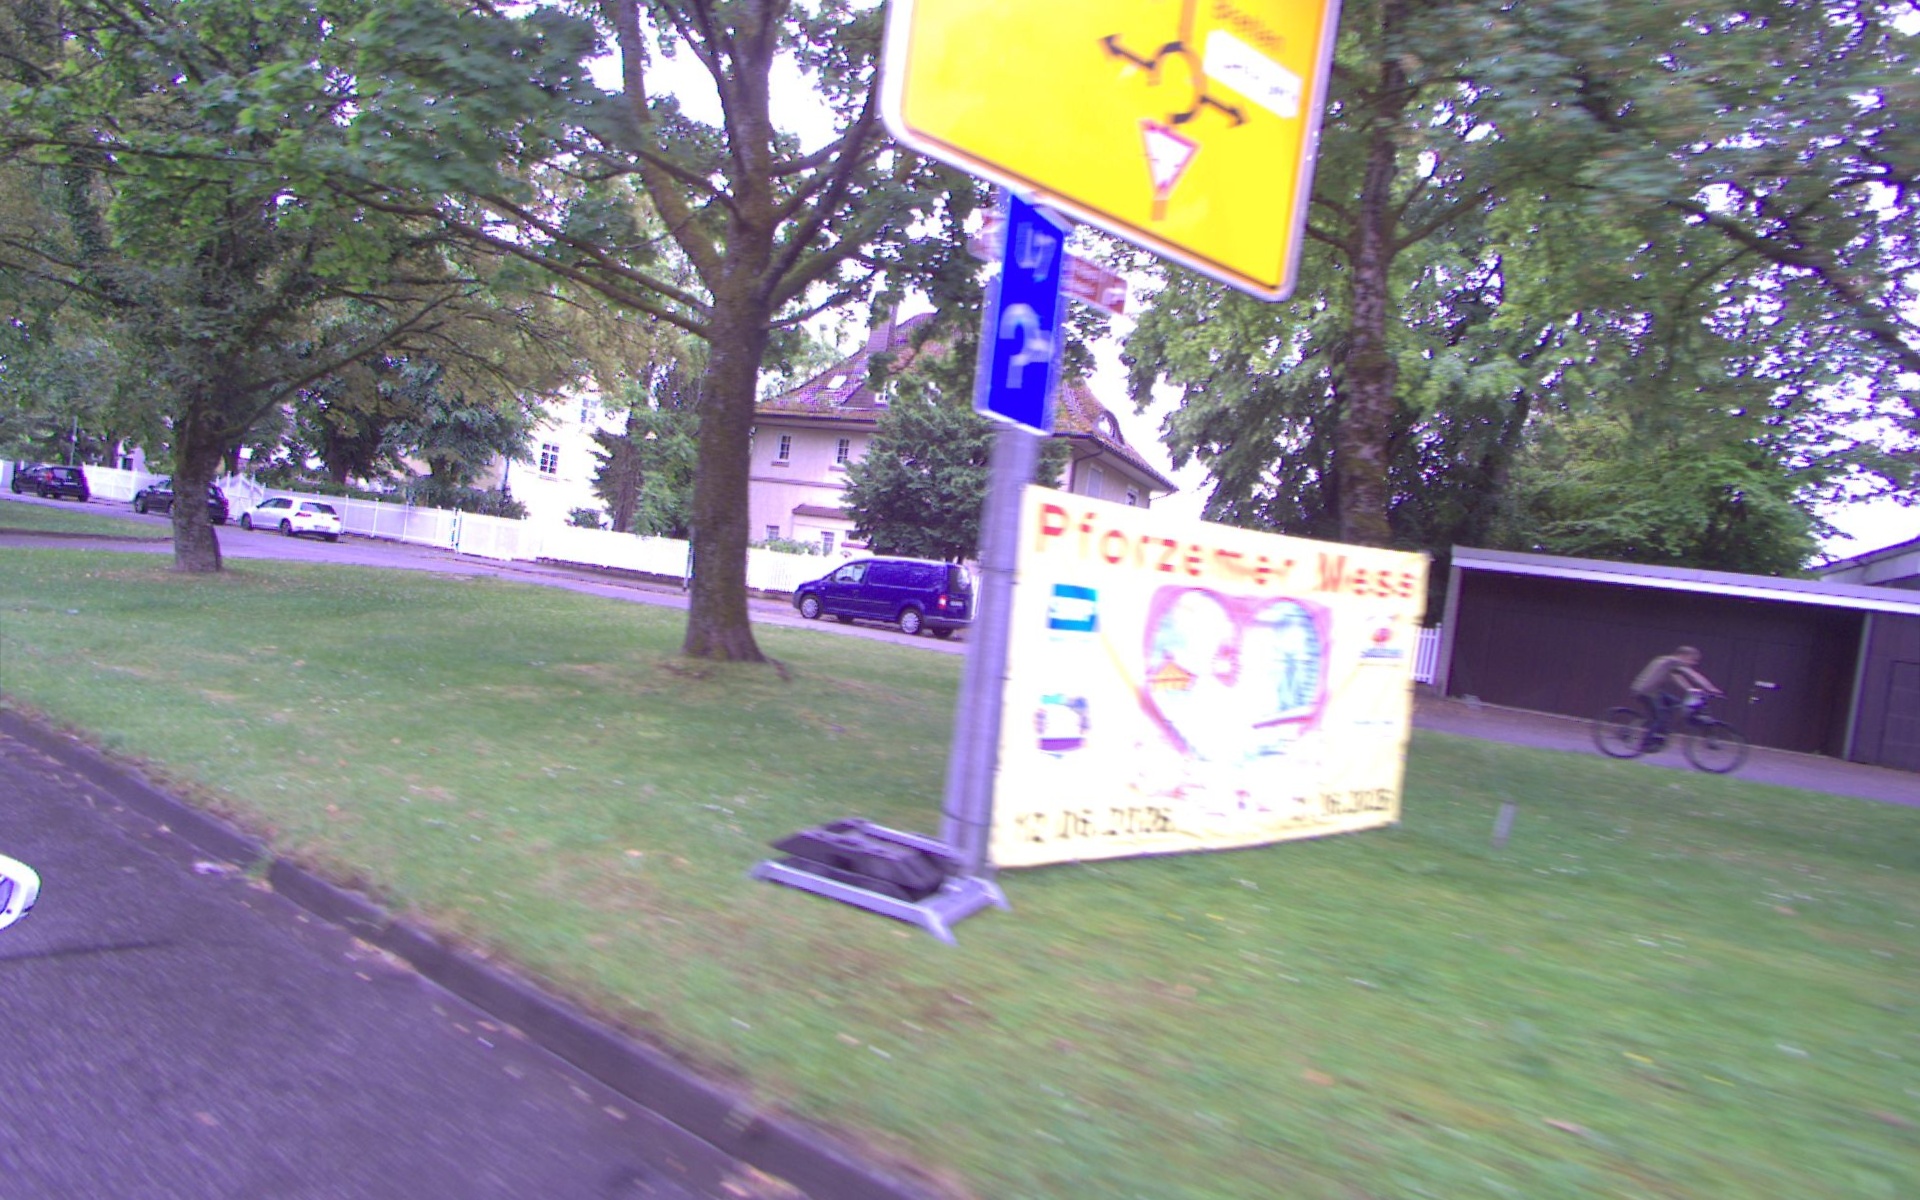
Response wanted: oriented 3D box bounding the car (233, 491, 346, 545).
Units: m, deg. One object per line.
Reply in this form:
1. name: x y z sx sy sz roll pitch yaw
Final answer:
1. car: -24.662 -3.025 36.977 3.939 1.428 1.618 8 2 26

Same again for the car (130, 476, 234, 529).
1. car: -31.232 -3.913 40.375 4.041 1.550 1.804 9 2 29

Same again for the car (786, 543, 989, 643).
1. car: -1.832 -0.192 25.069 4.568 1.833 1.943 9 3 29

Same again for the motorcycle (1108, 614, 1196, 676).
1. motorcycle: 4.095 0.968 21.390 1.877 1.106 0.651 7 2 -39

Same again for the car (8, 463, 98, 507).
1. car: -41.448 -5.254 45.961 4.041 1.430 1.804 9 2 29

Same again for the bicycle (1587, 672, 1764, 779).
1. bicycle: 9.795 1.698 13.866 1.832 1.153 0.596 7 1 32

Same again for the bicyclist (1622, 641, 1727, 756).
1. bicyclist: 9.826 1.338 13.876 0.983 1.408 0.745 7 1 32
